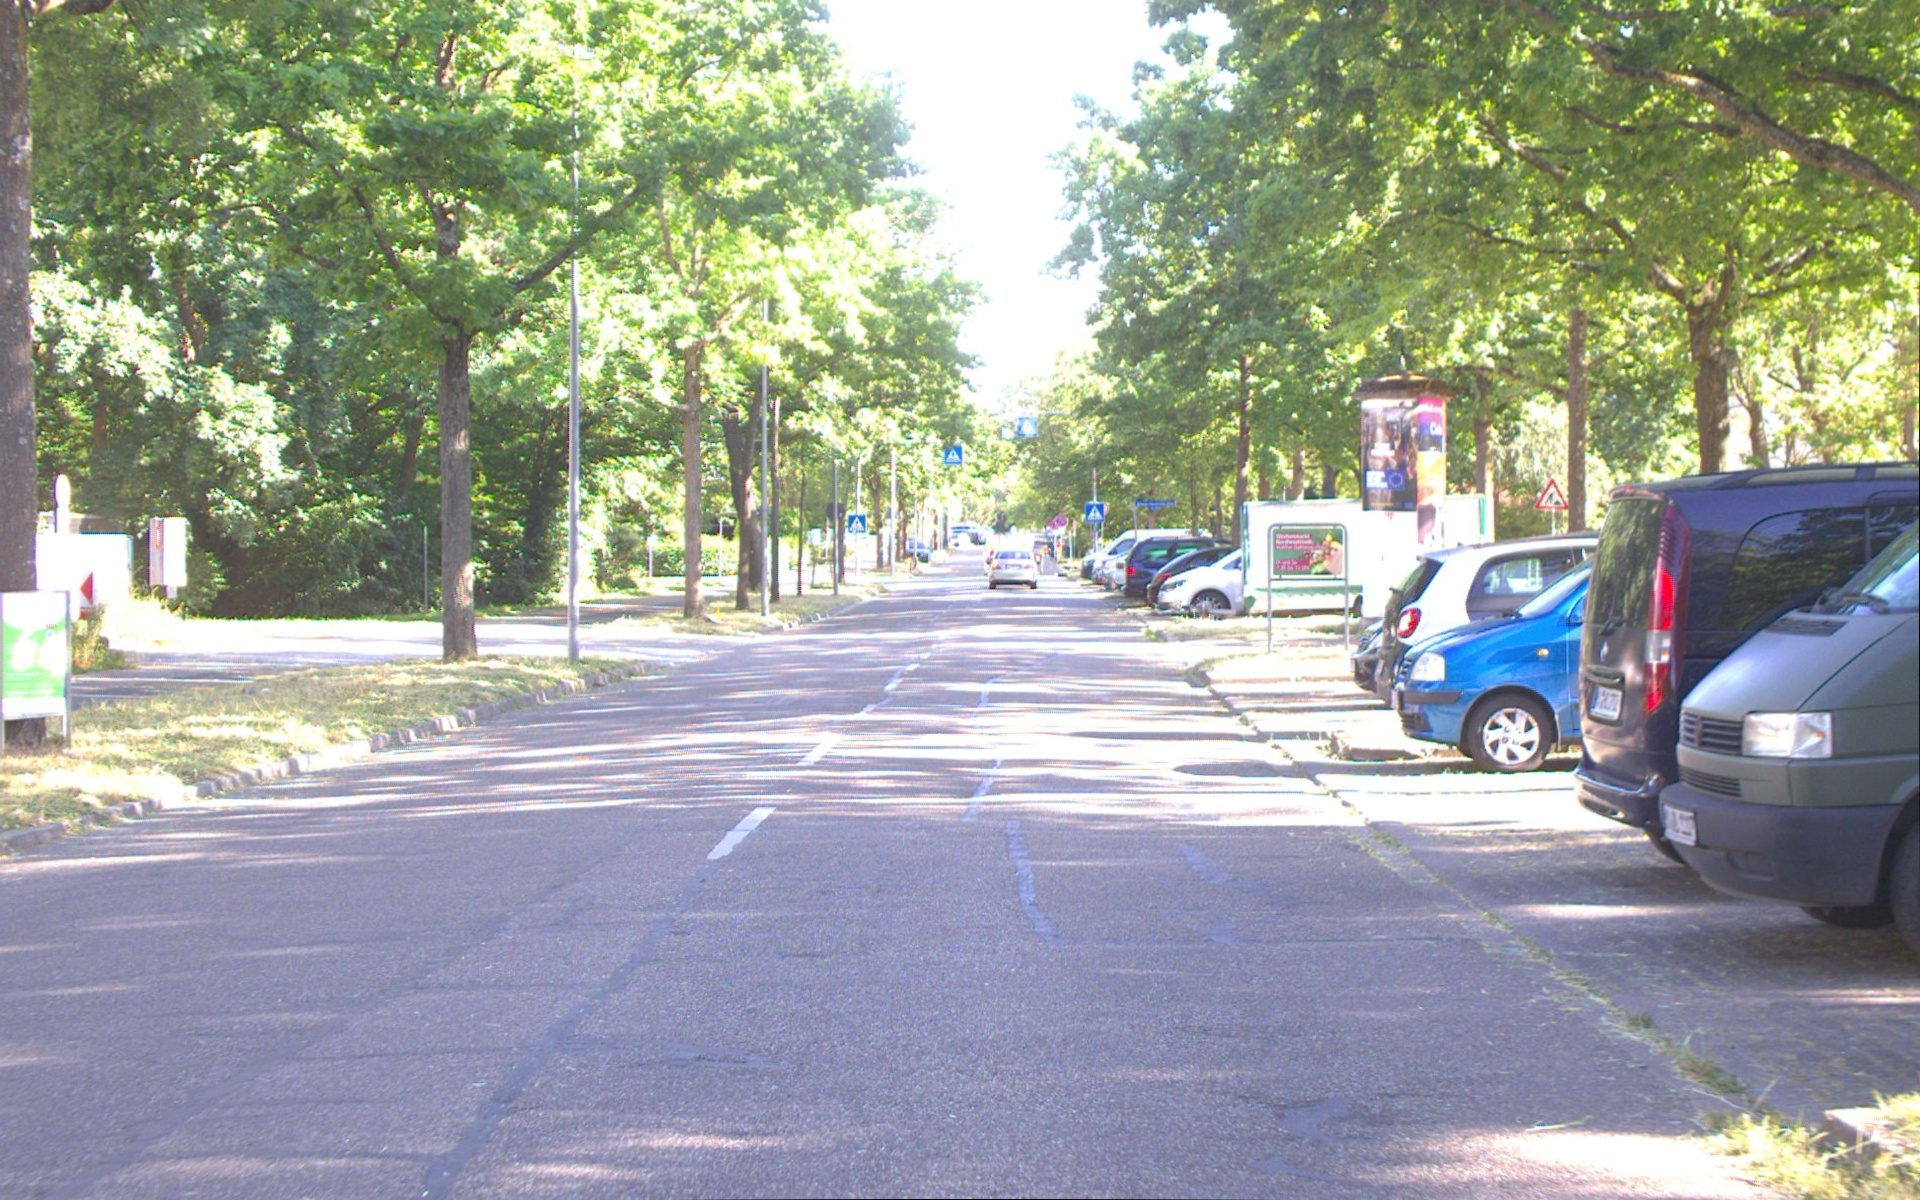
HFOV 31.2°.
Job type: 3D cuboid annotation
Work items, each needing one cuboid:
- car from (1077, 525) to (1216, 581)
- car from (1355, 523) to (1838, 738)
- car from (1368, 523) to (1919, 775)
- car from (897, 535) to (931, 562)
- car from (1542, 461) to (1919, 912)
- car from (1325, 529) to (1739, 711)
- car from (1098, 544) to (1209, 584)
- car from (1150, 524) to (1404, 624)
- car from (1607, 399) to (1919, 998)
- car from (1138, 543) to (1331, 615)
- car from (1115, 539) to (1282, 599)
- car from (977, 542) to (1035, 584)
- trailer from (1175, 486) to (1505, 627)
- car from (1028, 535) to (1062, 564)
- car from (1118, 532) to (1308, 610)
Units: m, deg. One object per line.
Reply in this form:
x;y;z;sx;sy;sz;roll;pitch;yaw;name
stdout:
7.154;-1.805;132.064;5.187;2.098;2.082;-1;1;0;car
5.060;0.230;27.704;3.584;1.571;1.786;-2;1;3;car
4.592;0.309;23.104;3.521;1.527;1.665;-2;1;3;car
-2.862;-3.232;215.222;1.993;1.711;4.000;0;1;0;car
4.763;0.304;15.168;4.008;1.831;1.799;-2;1;-1;car
5.384;0.171;32.694;3.583;1.571;1.857;-2;1;1;car
6.984;-1.314;124.297;3.987;1.428;1.901;0;1;3;car
5.968;-0.505;65.151;4.642;1.716;1.987;-2;1;2;car
4.977;0.277;12.640;4.803;2.025;1.944;-1;1;1;car
6.176;-0.484;77.775;4.245;1.514;2.078;-1;1;3;car
6.843;-0.902;99.051;4.671;1.575;1.917;-2;1;2;car
1.641;-1.342;123.541;1.993;1.479;4.000;0;1;0;car
6.832;-0.782;62.260;5.775;2.310;1.686;-2;1;3;trailer
5.154;-3.068;208.901;1.993;1.711;4.000;0;1;0;car
6.202;-0.727;84.681;4.530;1.795;1.936;-1;1;2;car
